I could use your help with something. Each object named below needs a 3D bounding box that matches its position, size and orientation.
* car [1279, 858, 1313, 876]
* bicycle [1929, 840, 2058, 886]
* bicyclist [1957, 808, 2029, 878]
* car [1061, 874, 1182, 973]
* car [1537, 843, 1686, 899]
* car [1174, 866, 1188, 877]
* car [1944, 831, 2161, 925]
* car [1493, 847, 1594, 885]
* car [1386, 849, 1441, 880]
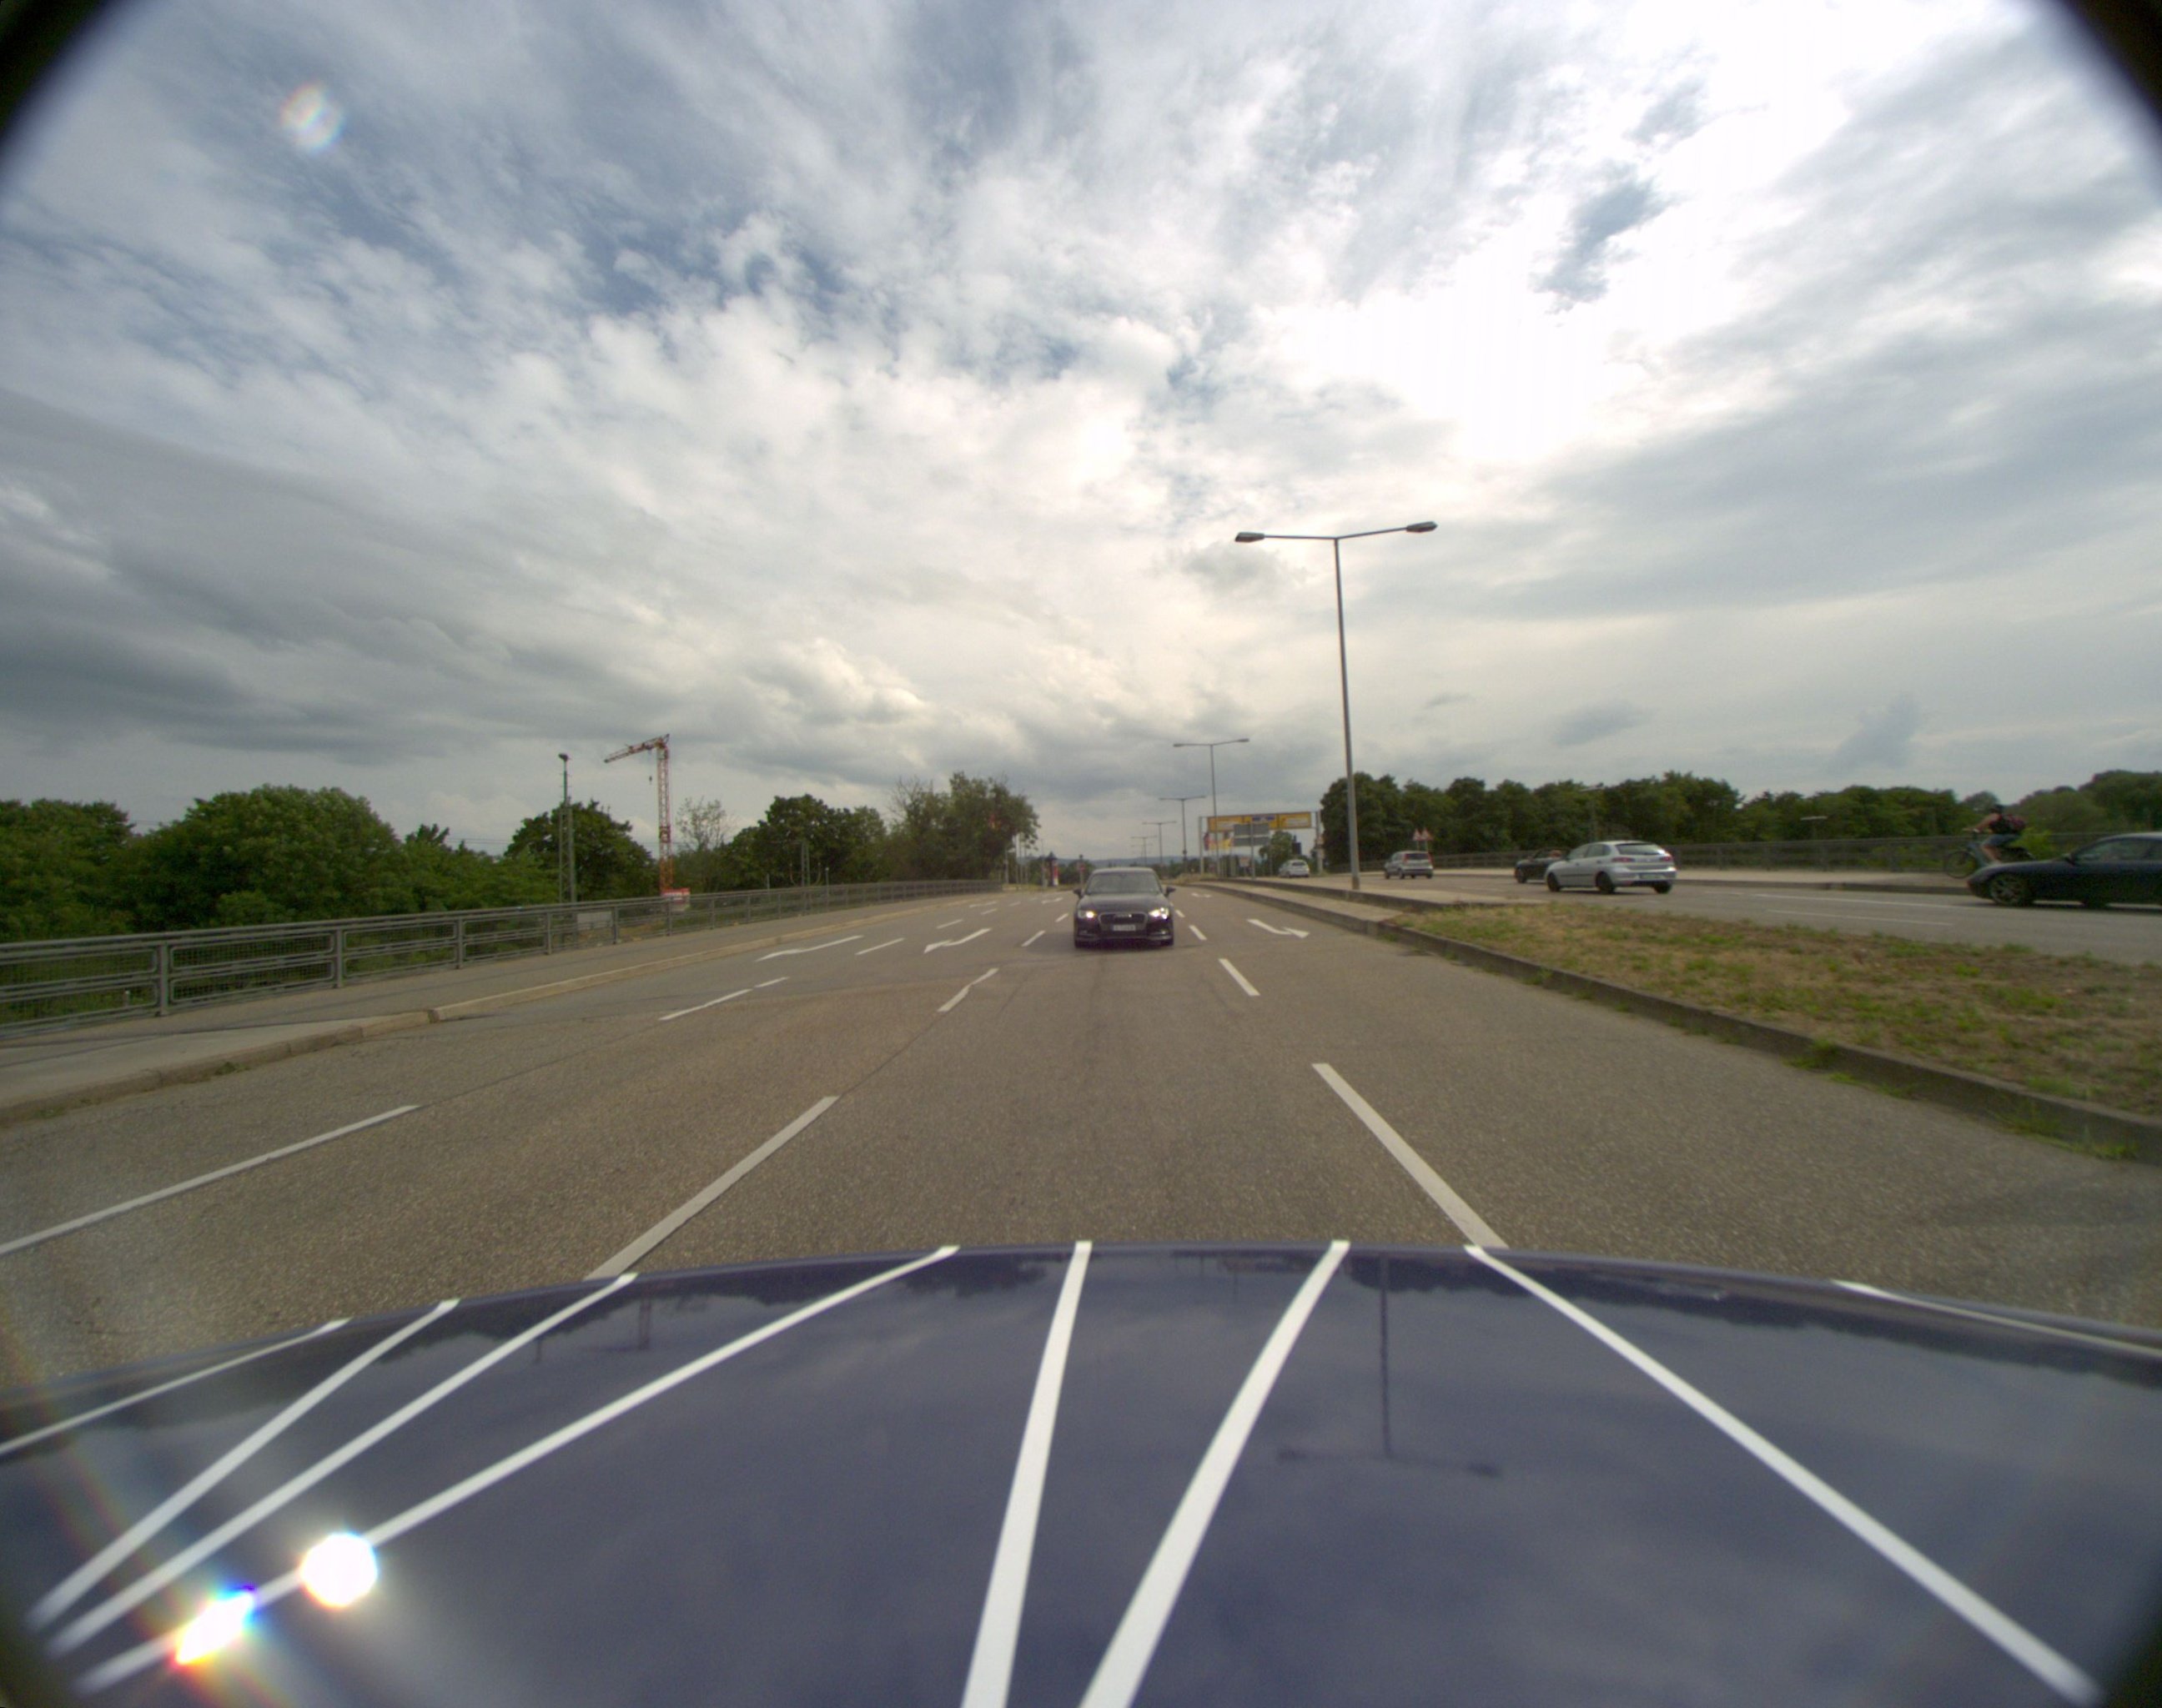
[{"bbox_3d":[18.070,1.052,64.055,1.813,1.407,4.030,-2,0,2],"label":"car"},{"bbox_3d":[22.474,0.217,18.777,0.686,1.047,1.994,-3,-1,-4],"label":"bicycle"},{"bbox_3d":[22.462,-0.260,18.728,0.686,1.662,0.847,-3,0,-4],"label":"bicyclist"},{"bbox_3d":[0.765,1.156,14.300,1.852,1.355,4.730,-2,0,3],"label":"car"},{"bbox_3d":[14.704,0.428,21.328,1.620,1.402,3.861,-1,0,3],"label":"car"},{"bbox_3d":[15.984,2.849,121.630,1.891,1.630,4.587,-2,-1,4],"label":"car"},{"bbox_3d":[17.789,0.358,12.667,1.826,1.438,4.352,-2,0,0],"label":"car"},{"bbox_3d":[18.303,0.440,30.258,1.746,1.402,3.877,-1,0,2],"label":"car"},{"bbox_3d":[18.496,0.571,42.471,1.745,1.649,4.081,-1,0,7],"label":"car"}]
